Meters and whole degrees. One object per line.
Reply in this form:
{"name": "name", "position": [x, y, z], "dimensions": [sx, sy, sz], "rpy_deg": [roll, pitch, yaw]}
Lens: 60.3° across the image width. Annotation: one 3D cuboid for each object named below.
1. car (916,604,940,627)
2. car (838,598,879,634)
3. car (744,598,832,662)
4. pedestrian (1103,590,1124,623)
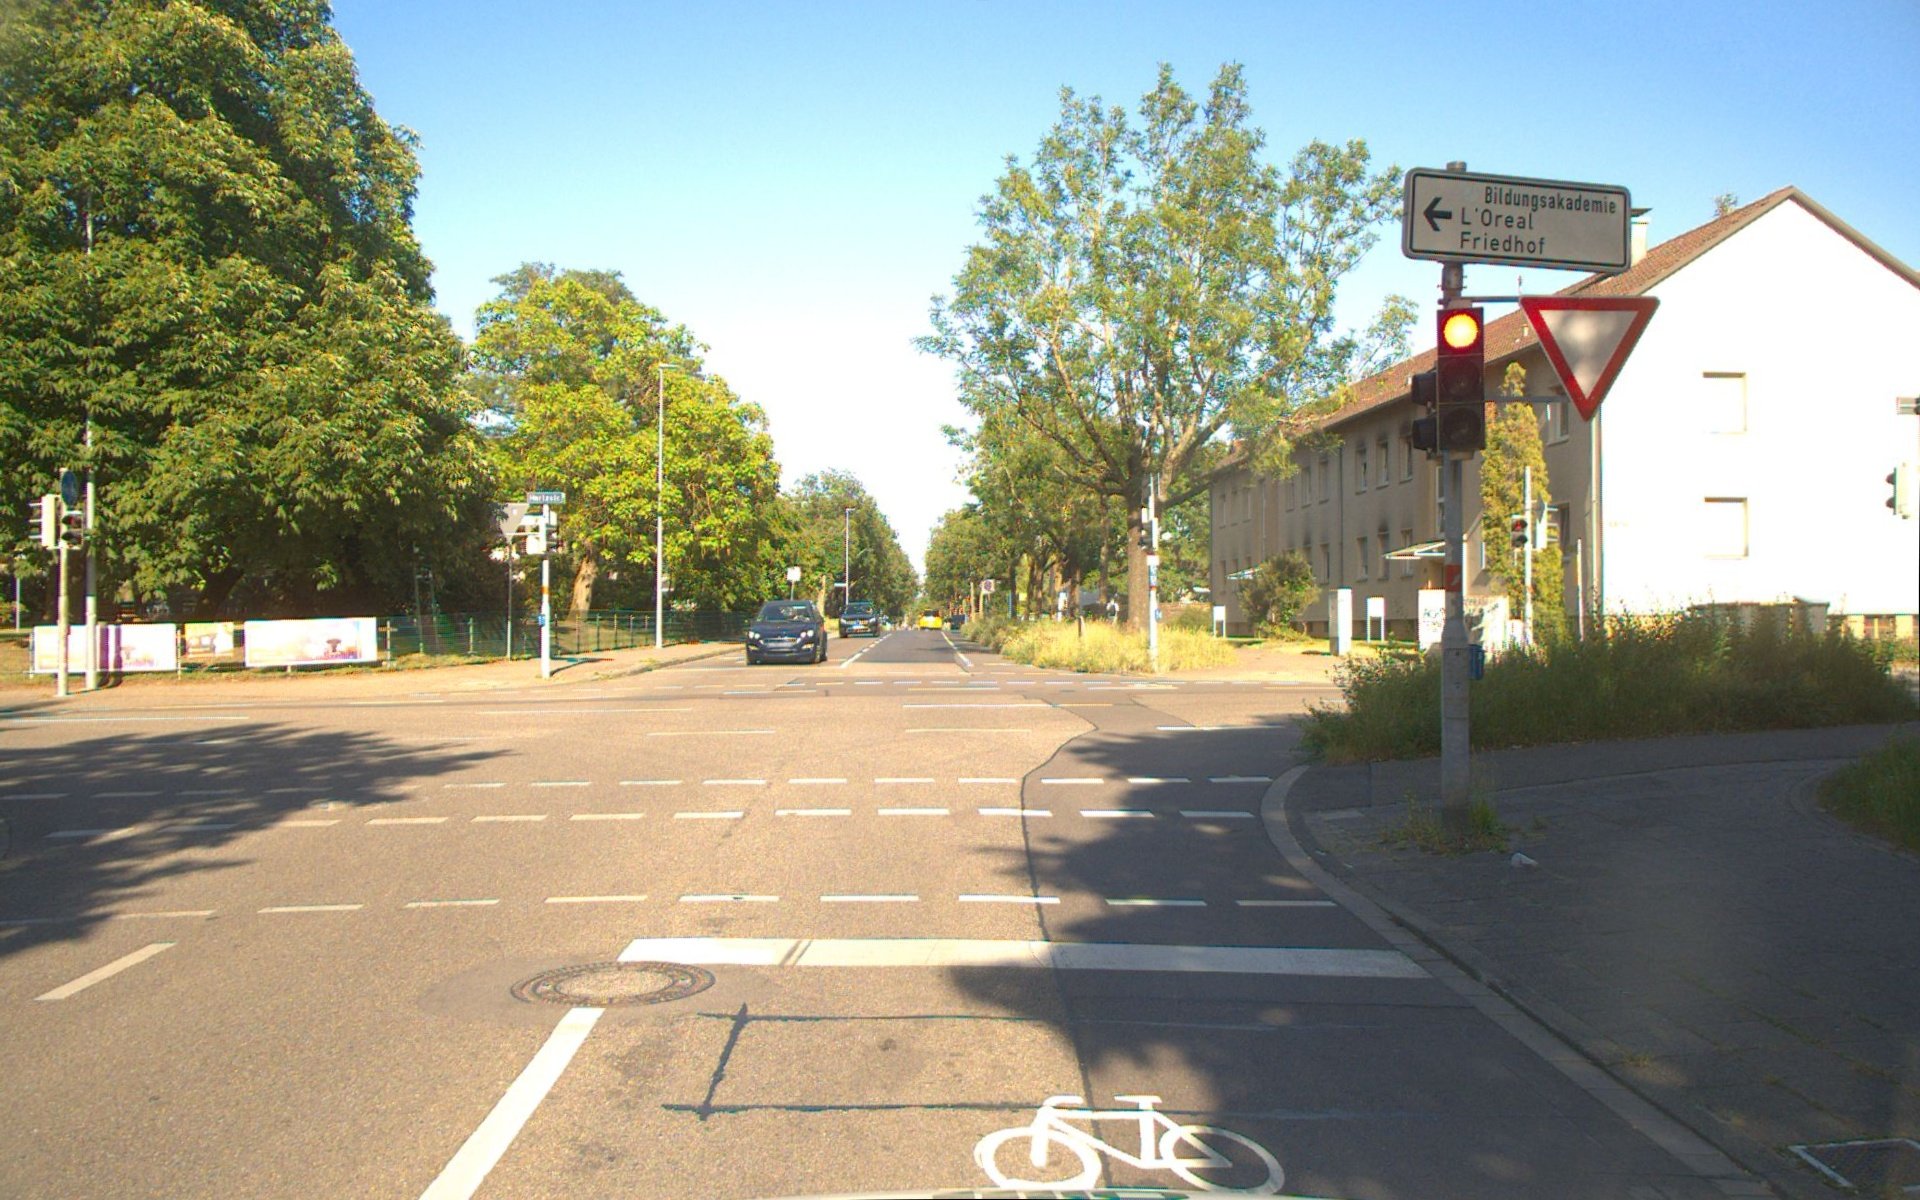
{"name": "car", "position": [-2.317, 1.146, 121.860], "dimensions": [1.716, 1.610, 3.999], "rpy_deg": [1, 0, -1]}
{"name": "car", "position": [-4.789, 0.752, 78.237], "dimensions": [1.722, 1.653, 3.268], "rpy_deg": [0, 0, 0]}
{"name": "car", "position": [-3.961, 0.663, 38.536], "dimensions": [1.676, 1.410, 3.471], "rpy_deg": [0, 0, 0]}
{"name": "pedestrian", "position": [7.066, 0.298, 76.364], "dimensions": [0.825, 1.519, 0.924], "rpy_deg": [2, 0, -1]}
